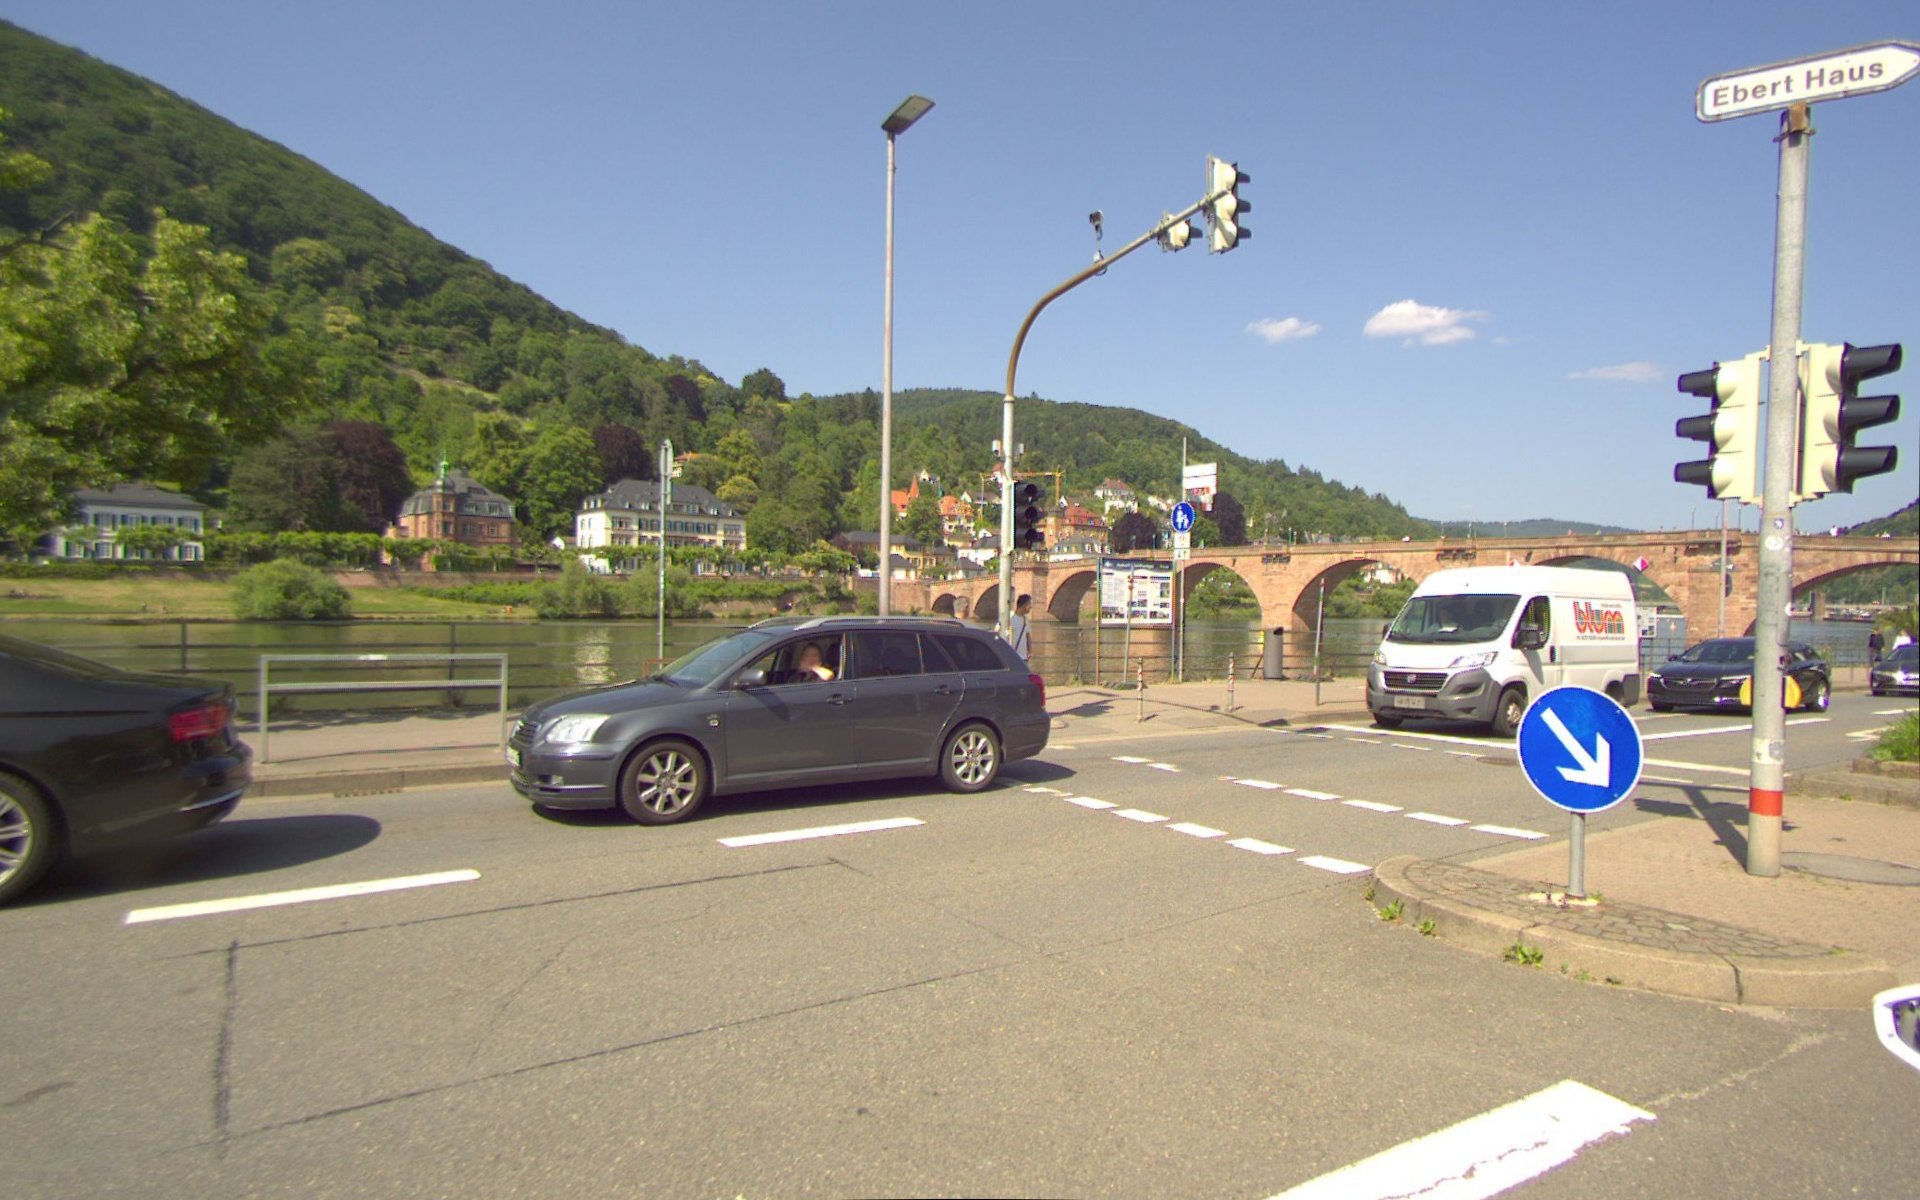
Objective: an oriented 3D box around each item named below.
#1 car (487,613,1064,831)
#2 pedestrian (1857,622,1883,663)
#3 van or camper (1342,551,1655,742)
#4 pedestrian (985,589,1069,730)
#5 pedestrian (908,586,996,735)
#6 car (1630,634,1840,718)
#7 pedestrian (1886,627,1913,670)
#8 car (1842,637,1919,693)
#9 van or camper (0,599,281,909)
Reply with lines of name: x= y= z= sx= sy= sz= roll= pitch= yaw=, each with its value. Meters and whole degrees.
car: x=-1.474 y=0.866 z=8.660 sx=4.521 sy=1.427 sz=1.941 roll=1 pitch=-2 yaw=-33
pedestrian: x=40.605 y=1.885 z=44.831 sx=0.690 sy=1.804 sz=0.755 roll=0 pitch=1 yaw=-40
van or camper: x=8.383 y=0.703 z=15.428 sx=5.438 sy=2.482 sz=1.981 roll=2 pitch=-2 yaw=-34
pedestrian: x=0.907 y=0.782 z=13.667 sx=0.758 sy=1.804 sz=0.688 roll=0 pitch=6 yaw=-40
pedestrian: x=-0.105 y=0.751 z=12.931 sx=0.758 sy=1.804 sz=0.688 roll=0 pitch=6 yaw=-40
car: x=15.491 y=1.426 z=20.005 sx=4.876 sy=1.475 sz=1.808 roll=1 pitch=-2 yaw=-33
pedestrian: x=41.209 y=2.111 z=44.054 sx=0.690 sy=1.804 sz=0.755 roll=0 pitch=1 yaw=-40
car: x=25.854 y=1.743 z=27.096 sx=4.171 sy=1.431 sz=1.942 roll=3 pitch=-3 yaw=-31
van or camper: x=-6.366 y=0.730 z=4.885 sx=5.012 sy=1.496 sz=1.982 roll=1 pitch=-2 yaw=-34
